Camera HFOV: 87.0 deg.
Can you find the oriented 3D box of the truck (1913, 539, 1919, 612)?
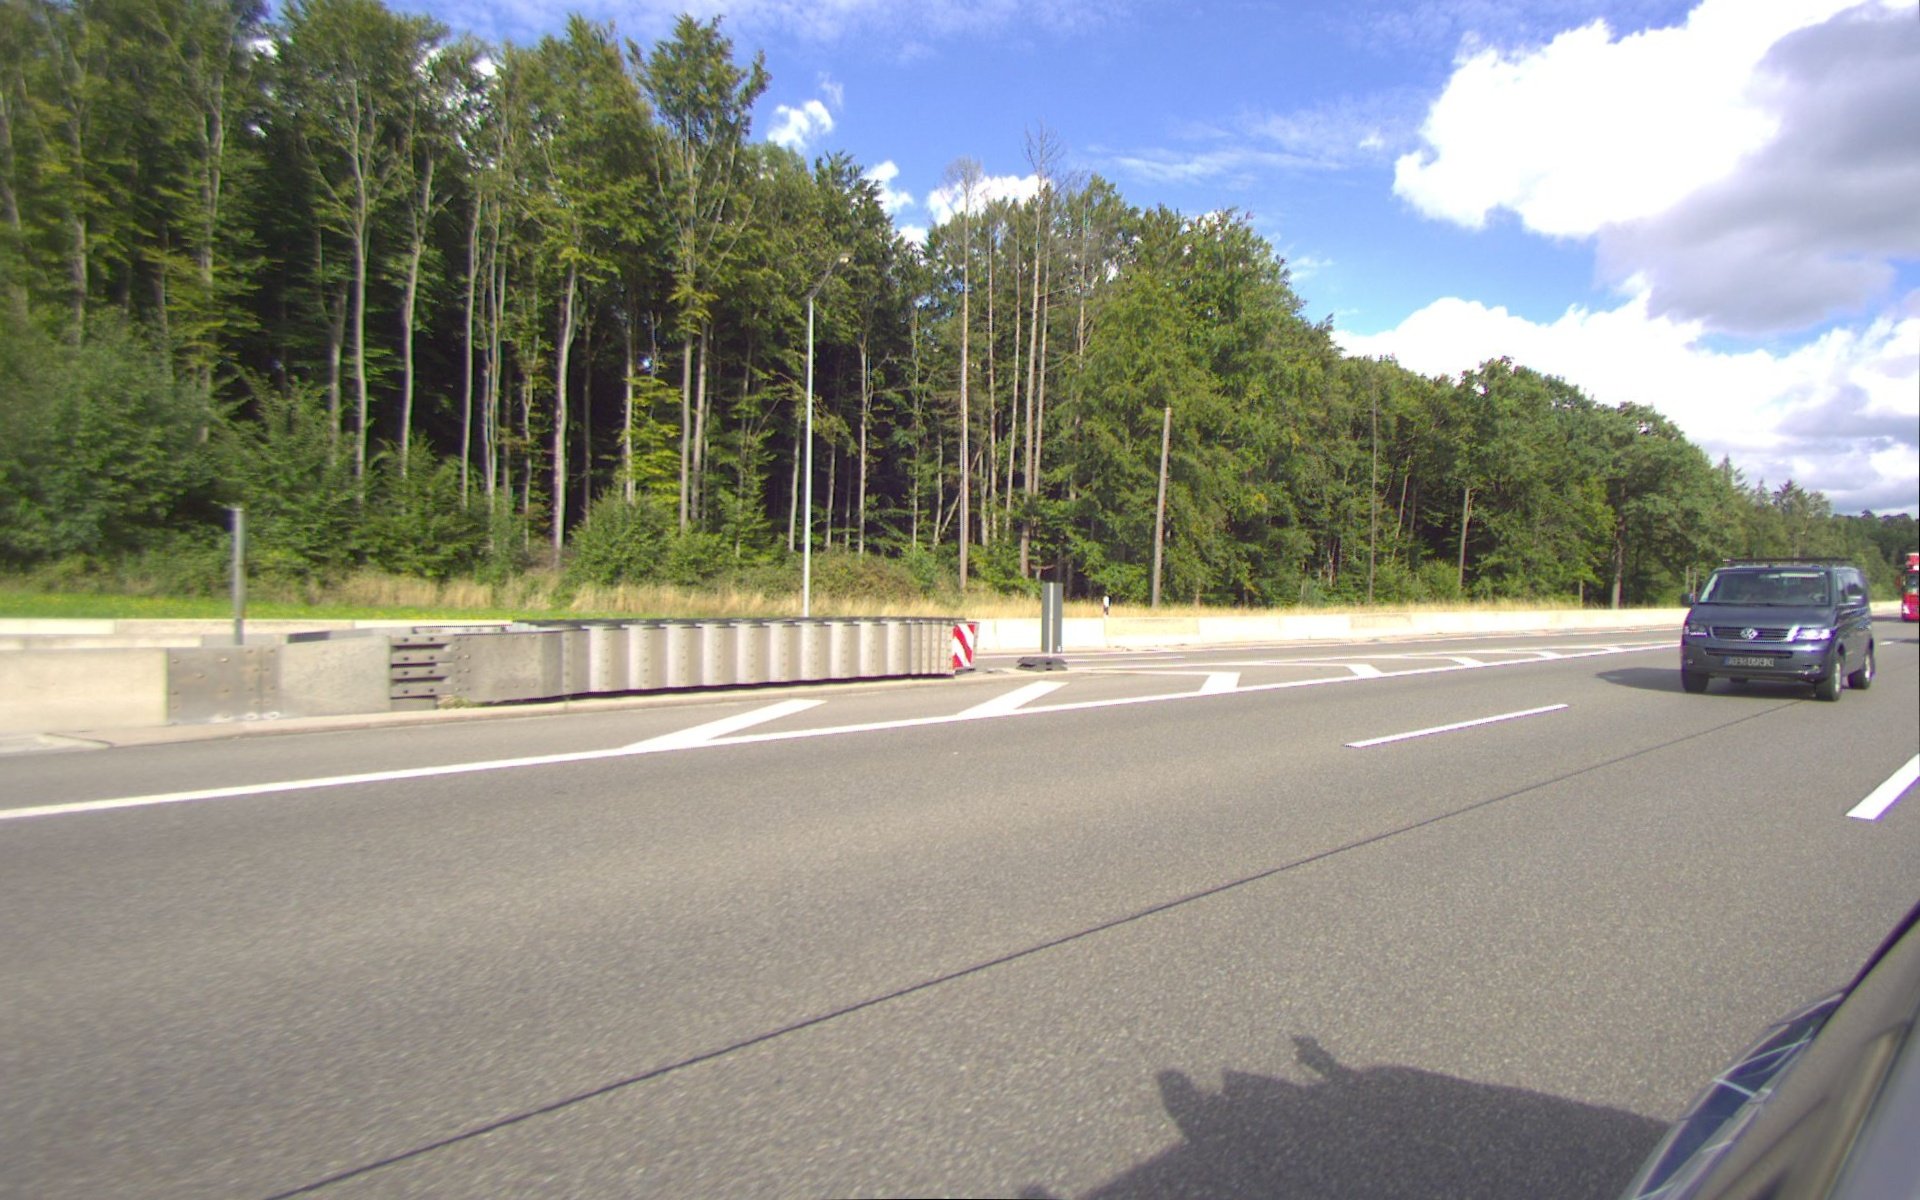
[{"bbox_3d":[58.242,-1.450,59.677,4.573,4.254,2.530,-2,2,-41],"label":"truck"}]

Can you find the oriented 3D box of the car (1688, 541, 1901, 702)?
[{"bbox_3d":[13.431,0.241,16.178,4.876,2.192,1.925,-1,2,-42],"label":"car"}]
